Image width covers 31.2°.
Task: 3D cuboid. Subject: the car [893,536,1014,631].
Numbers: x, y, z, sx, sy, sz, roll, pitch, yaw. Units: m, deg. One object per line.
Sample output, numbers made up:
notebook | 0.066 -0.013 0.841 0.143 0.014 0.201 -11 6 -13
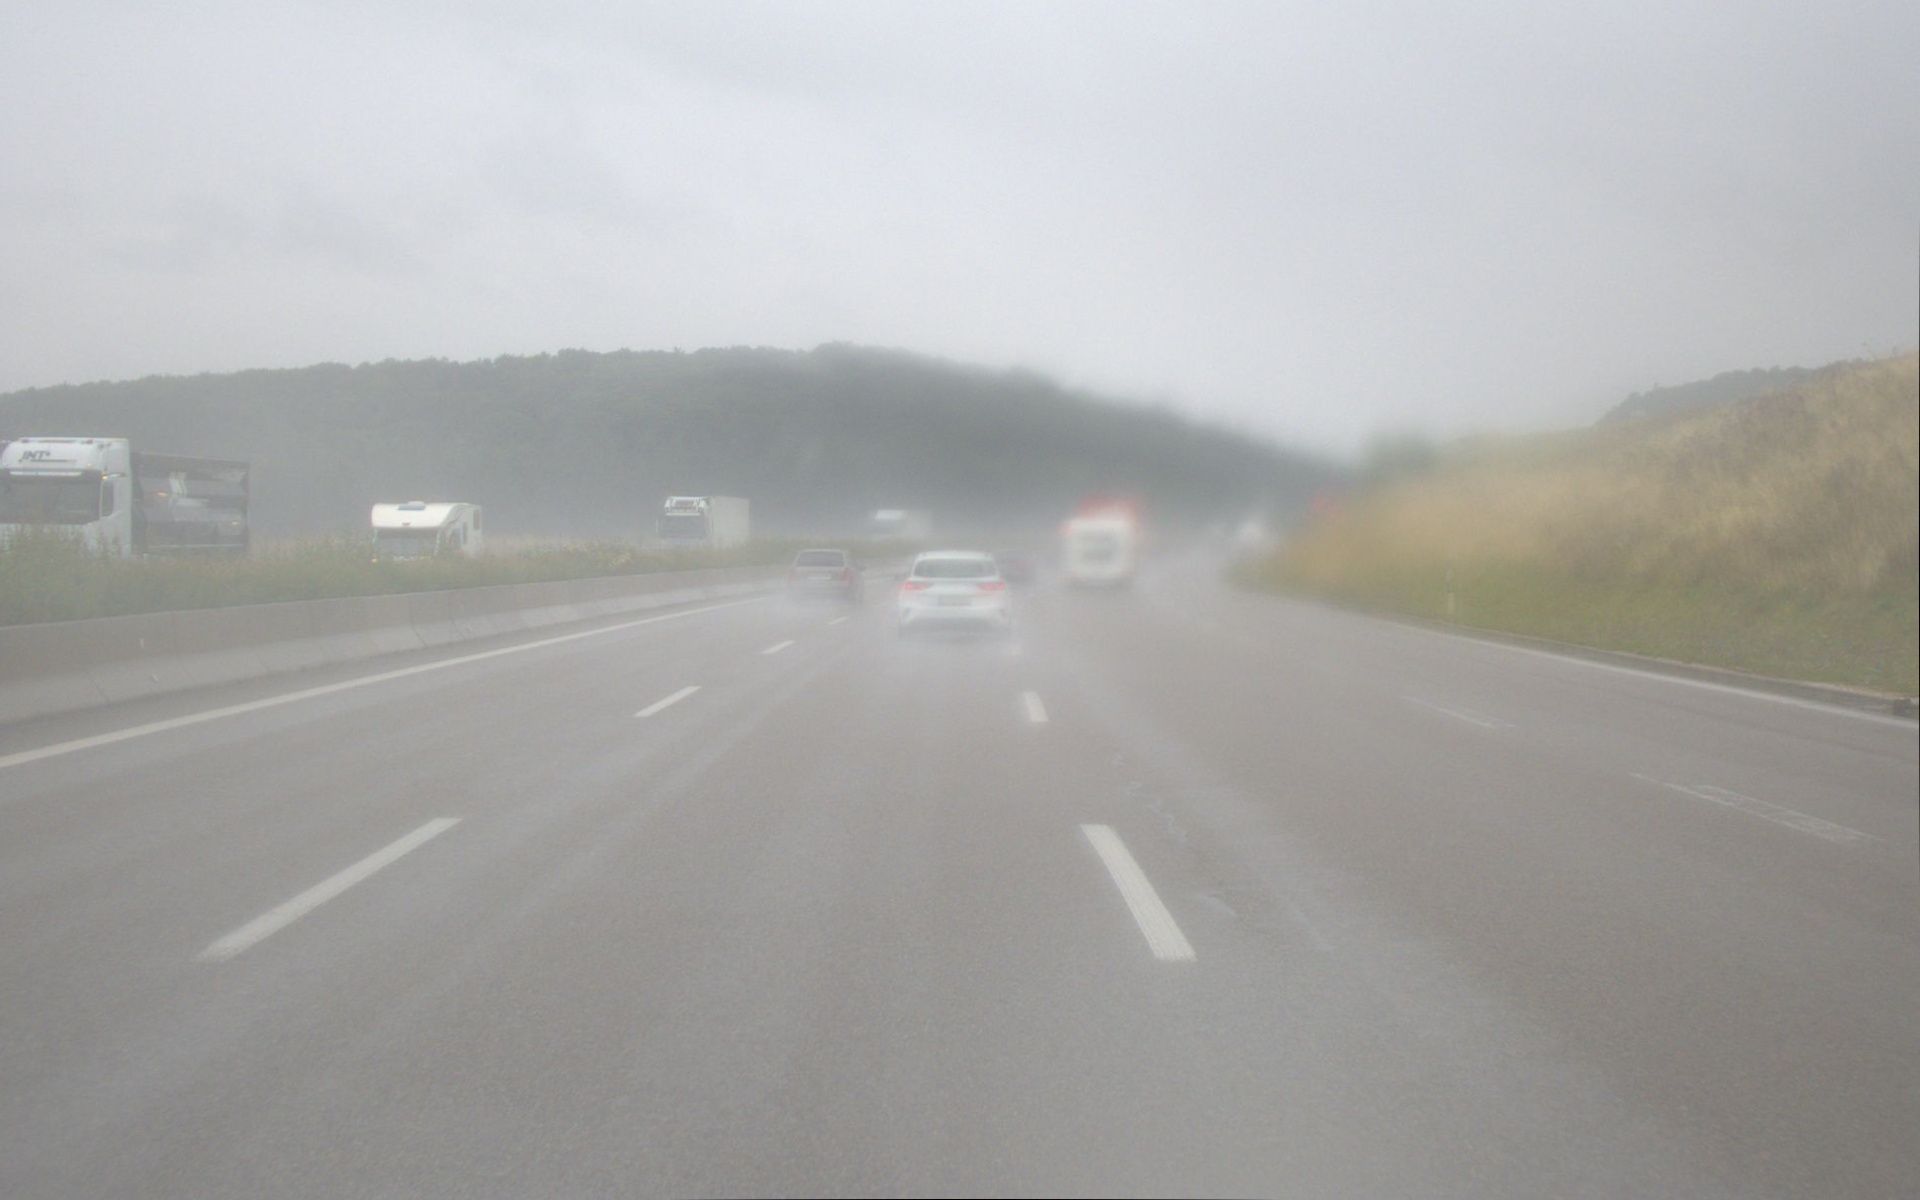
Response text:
car | -0.124 -0.271 55.568 1.867 1.458 4.000 0 0 -1

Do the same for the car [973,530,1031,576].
car | 1.496 -1.689 123.702 1.993 1.612 4.000 0 1 0

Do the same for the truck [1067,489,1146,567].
truck | 7.273 -3.669 172.343 3.527 3.730 11.427 1 2 0

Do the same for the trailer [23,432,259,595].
trailer | -19.707 -1.974 83.519 2.764 3.608 11.148 1 0 1

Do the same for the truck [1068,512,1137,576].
truck | 5.099 -2.023 123.643 2.408 2.244 4.693 0 1 2

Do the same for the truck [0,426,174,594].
truck | -19.889 -1.965 77.679 2.779 3.595 5.739 1 0 1

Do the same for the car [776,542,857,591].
car | -3.576 -0.807 85.144 1.823 1.152 4.213 1 0 -5
